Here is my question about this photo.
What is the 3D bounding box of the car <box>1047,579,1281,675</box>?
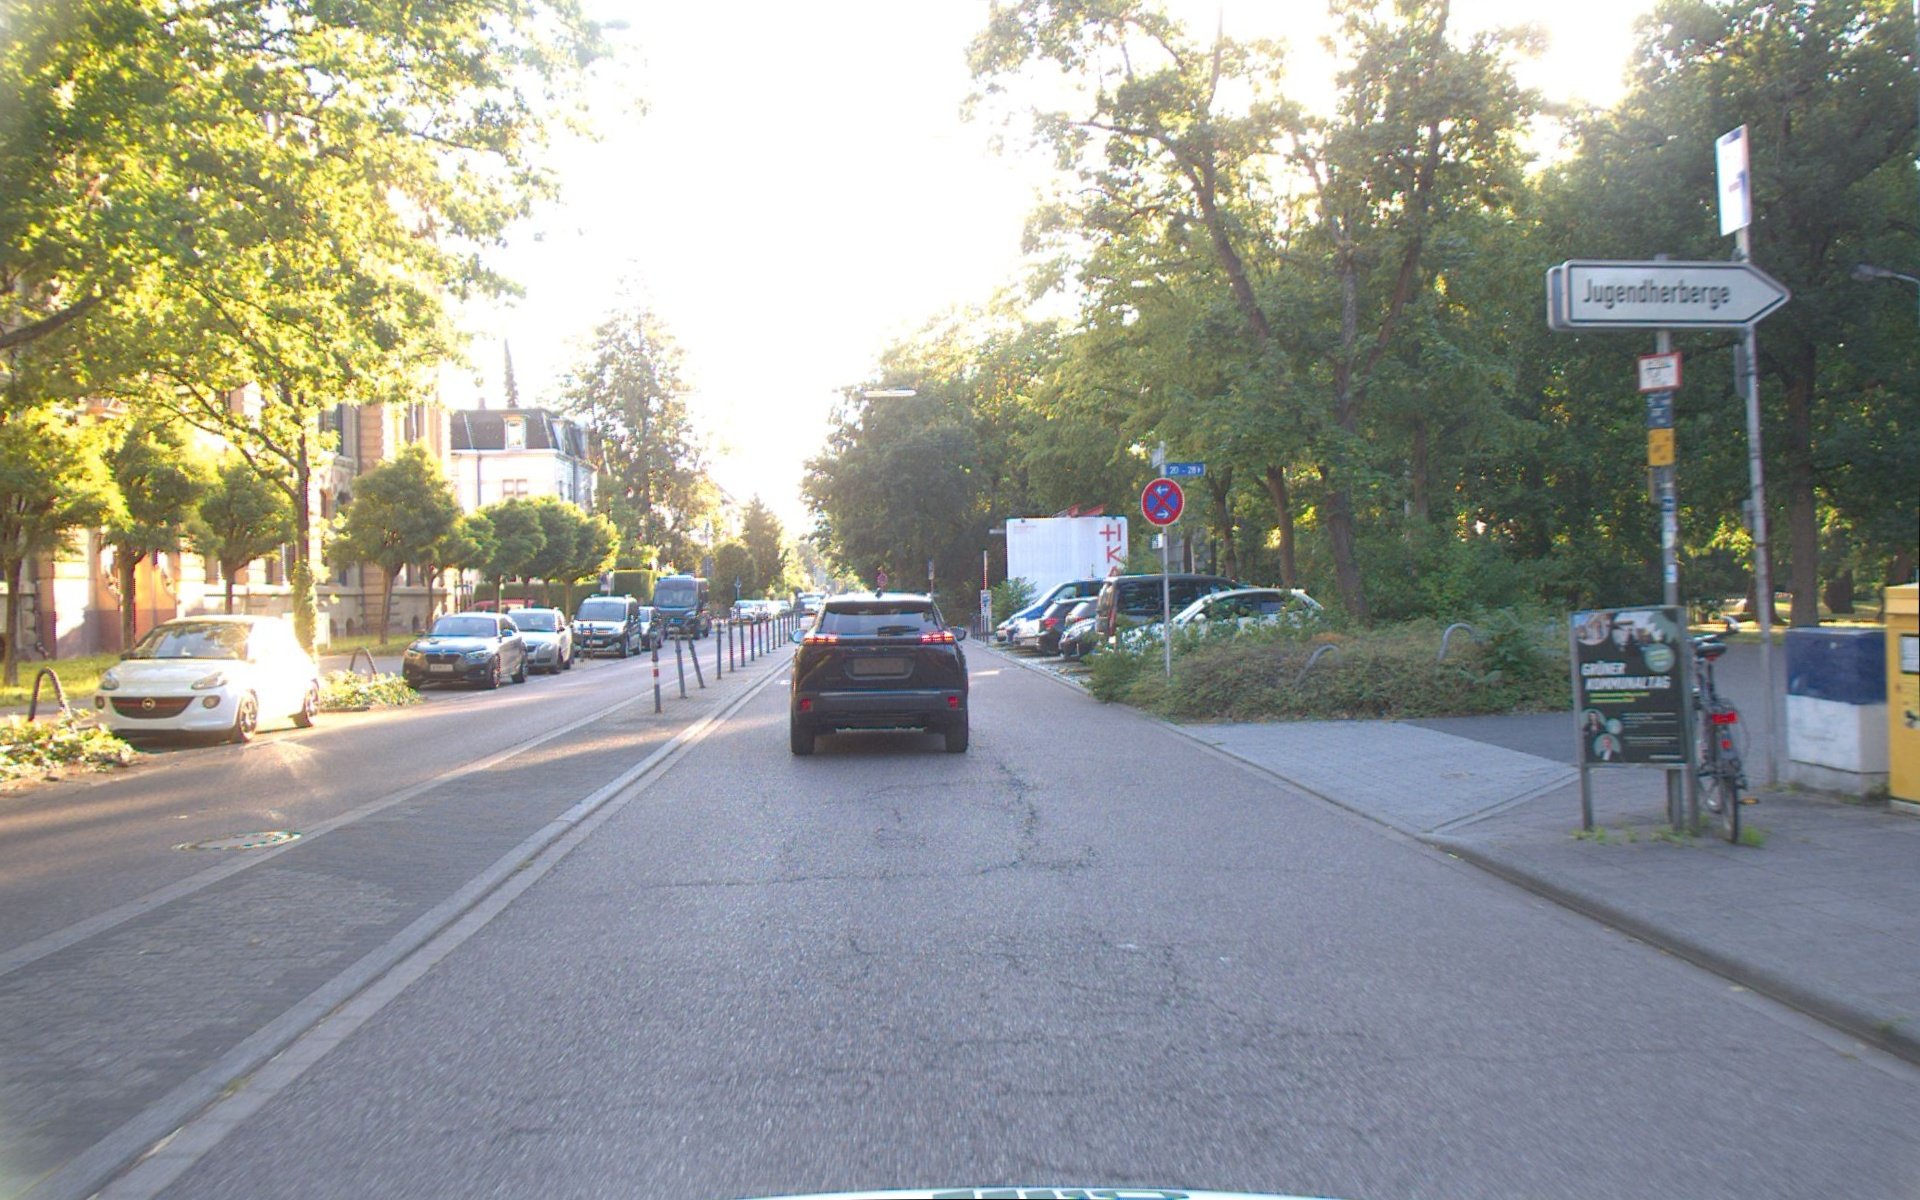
[{"bbox_3d":[4.002,0.522,32.877,4.278,1.581,1.874,-3,0,-4],"label":"car"}]

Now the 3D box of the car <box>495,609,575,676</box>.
[{"bbox_3d":[-10.370,0.992,40.550,1.688,1.522,4.364,-1,0,-12],"label":"car"}]

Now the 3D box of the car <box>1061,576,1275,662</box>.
[{"bbox_3d":[4.478,0.400,36.023,4.278,1.564,1.919,-3,0,-4],"label":"car"}]

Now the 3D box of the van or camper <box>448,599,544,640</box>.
[{"bbox_3d":[-25.707,1.060,91.792,4.672,2.020,2.001,-1,4,-2],"label":"van or camper"}]

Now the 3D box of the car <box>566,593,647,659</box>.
[{"bbox_3d":[-10.827,0.765,50.913,1.742,1.898,4.329,1,0,-3],"label":"car"}]

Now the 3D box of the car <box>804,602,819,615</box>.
[{"bbox_3d":[-20.838,1.205,231.757,1.954,1.847,3.997,-1,0,-4],"label":"car"}]

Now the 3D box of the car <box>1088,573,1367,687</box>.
[{"bbox_3d":[4.438,0.484,27.785,4.278,1.581,1.726,-3,0,-4],"label":"car"}]

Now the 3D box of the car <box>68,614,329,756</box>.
[{"bbox_3d":[-9.232,0.963,20.396,1.586,1.522,3.921,-1,0,-4],"label":"car"}]

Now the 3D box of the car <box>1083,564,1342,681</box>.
[{"bbox_3d":[4.535,0.393,30.119,4.278,1.811,1.919,-3,0,-4],"label":"car"}]

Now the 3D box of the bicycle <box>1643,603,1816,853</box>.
[{"bbox_3d":[4.344,0.655,9.463,0.482,1.168,2.287,-4,1,16],"label":"bicycle"}]

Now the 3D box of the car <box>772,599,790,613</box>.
[{"bbox_3d":[-20.836,0.704,192.929,1.862,1.601,3.997,-1,0,-4],"label":"car"}]

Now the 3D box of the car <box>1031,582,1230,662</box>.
[{"bbox_3d":[3.909,0.499,38.475,4.278,1.564,1.919,-3,0,-4],"label":"car"}]

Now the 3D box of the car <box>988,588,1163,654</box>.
[{"bbox_3d":[3.326,0.592,48.241,4.830,1.581,1.914,-3,0,-4],"label":"car"}]

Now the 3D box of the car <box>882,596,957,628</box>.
[{"bbox_3d":[-2.182,0.637,88.784,3.908,1.581,1.724,-2,1,-4],"label":"car"}]

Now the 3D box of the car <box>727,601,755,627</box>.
[{"bbox_3d":[-13.963,0.884,105.593,1.582,1.541,3.708,-3,0,-5],"label":"car"}]

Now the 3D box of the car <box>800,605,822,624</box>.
[{"bbox_3d":[-12.477,1.183,138.805,1.706,1.483,4.620,-2,0,-4],"label":"car"}]

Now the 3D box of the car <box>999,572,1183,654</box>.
[{"bbox_3d":[3.574,0.346,45.708,4.757,1.949,1.914,-3,0,-4],"label":"car"}]

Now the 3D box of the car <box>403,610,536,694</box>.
[{"bbox_3d":[-9.750,0.992,33.201,1.586,1.522,4.374,-1,0,-4],"label":"car"}]

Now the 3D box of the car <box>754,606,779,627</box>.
[{"bbox_3d":[-14.879,1.250,127.192,1.581,1.492,4.033,-2,0,-3],"label":"car"}]

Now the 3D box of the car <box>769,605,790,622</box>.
[{"bbox_3d":[-16.129,1.187,148.242,1.718,1.438,3.760,-3,0,-5],"label":"car"}]

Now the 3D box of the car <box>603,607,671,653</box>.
[{"bbox_3d":[-11.089,1.004,56.932,1.662,1.496,3.853,1,0,-2],"label":"car"}]

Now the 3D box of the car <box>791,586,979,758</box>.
[{"bbox_3d":[-0.806,0.656,17.415,1.736,1.596,4.106,0,0,-3],"label":"car"}]

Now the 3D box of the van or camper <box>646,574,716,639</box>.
[{"bbox_3d":[-11.789,0.286,70.334,2.185,2.589,7.074,0,0,-4],"label":"van or camper"}]

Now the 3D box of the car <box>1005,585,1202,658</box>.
[{"bbox_3d":[3.721,0.541,43.395,4.830,1.581,1.914,-3,0,-4],"label":"car"}]

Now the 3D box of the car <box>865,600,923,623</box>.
[{"bbox_3d":[-4.868,0.843,121.795,4.161,1.474,2.019,-3,0,-6],"label":"car"}]
